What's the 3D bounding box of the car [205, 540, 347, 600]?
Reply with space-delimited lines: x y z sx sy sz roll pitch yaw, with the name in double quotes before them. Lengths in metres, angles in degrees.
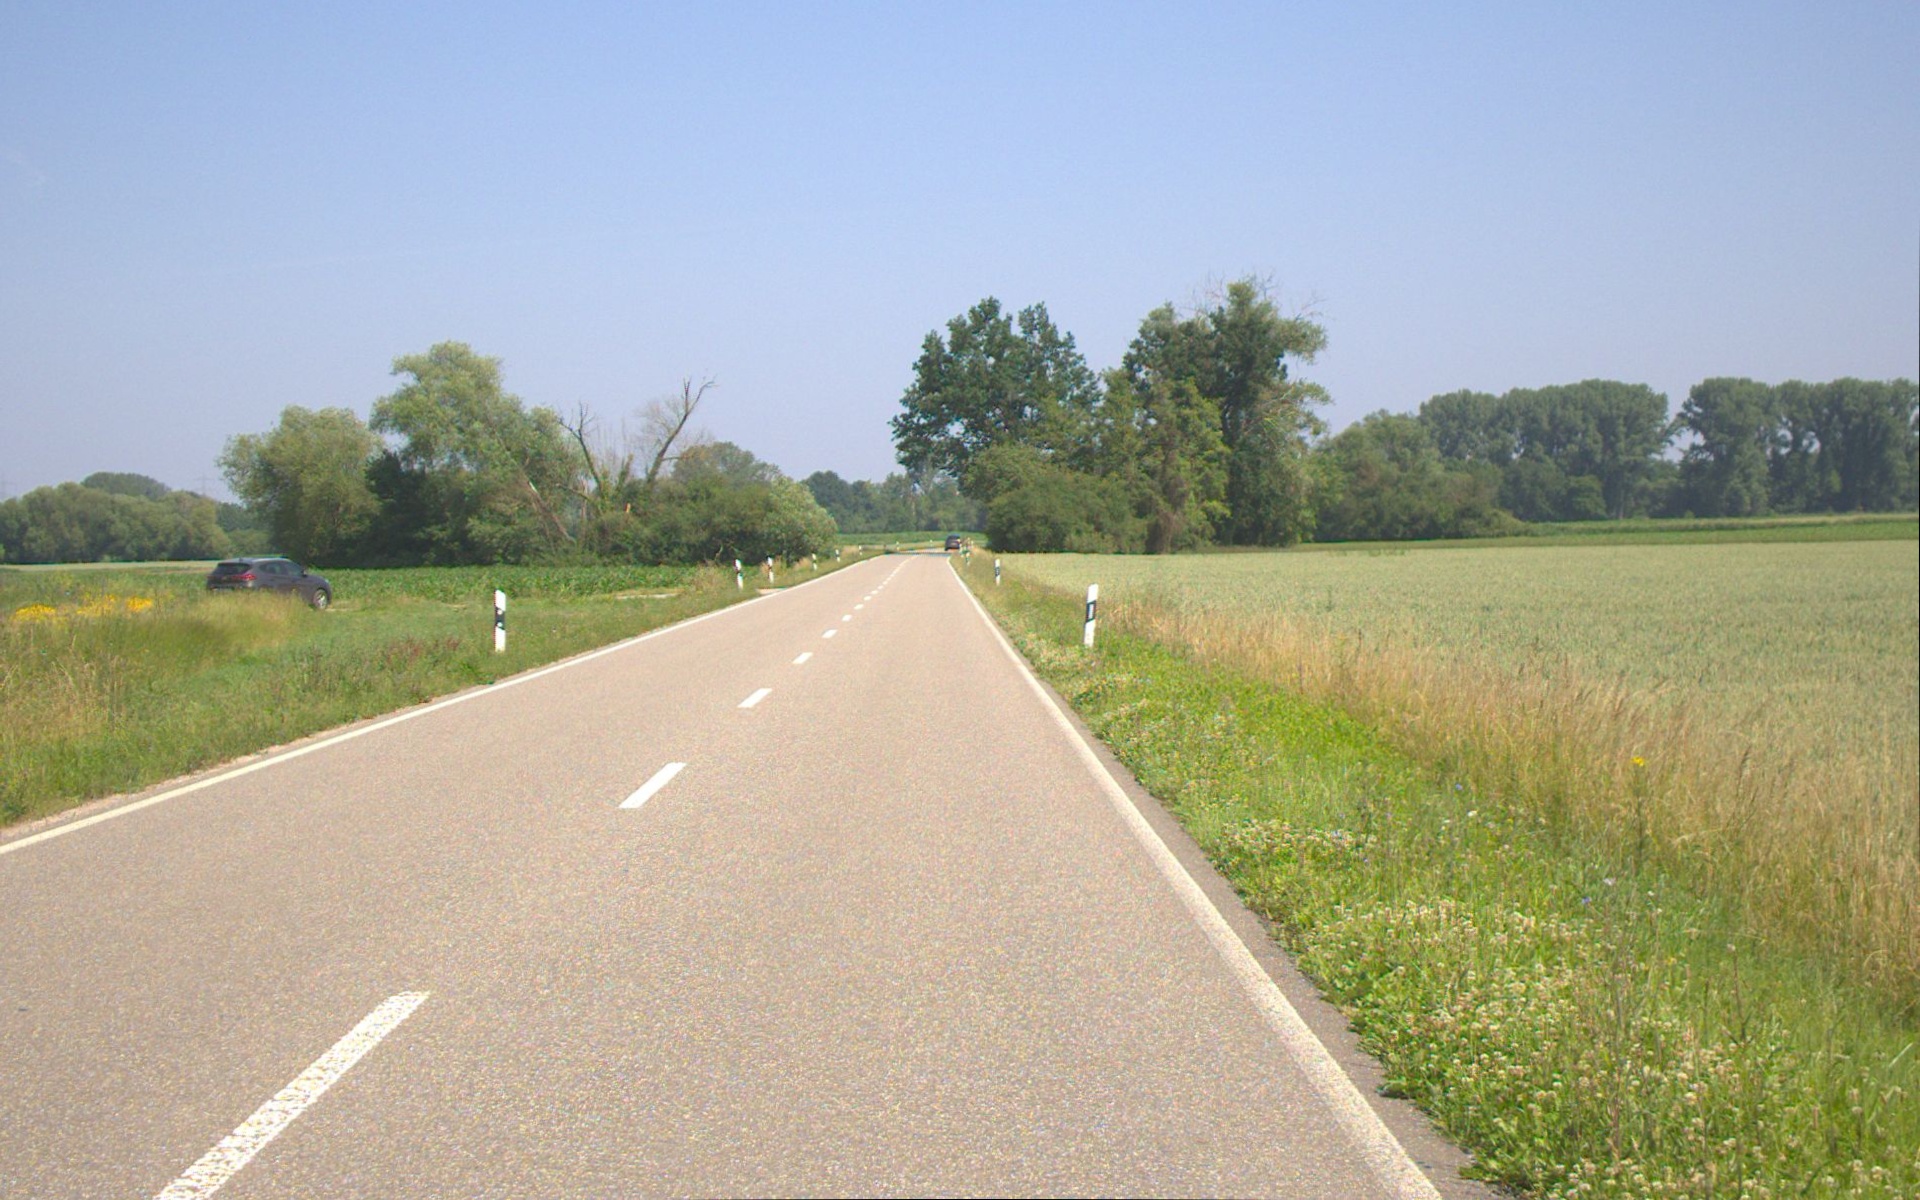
"car" -20.268 -0.902 102.094 1.755 1.645 4.523 -1 2 25
